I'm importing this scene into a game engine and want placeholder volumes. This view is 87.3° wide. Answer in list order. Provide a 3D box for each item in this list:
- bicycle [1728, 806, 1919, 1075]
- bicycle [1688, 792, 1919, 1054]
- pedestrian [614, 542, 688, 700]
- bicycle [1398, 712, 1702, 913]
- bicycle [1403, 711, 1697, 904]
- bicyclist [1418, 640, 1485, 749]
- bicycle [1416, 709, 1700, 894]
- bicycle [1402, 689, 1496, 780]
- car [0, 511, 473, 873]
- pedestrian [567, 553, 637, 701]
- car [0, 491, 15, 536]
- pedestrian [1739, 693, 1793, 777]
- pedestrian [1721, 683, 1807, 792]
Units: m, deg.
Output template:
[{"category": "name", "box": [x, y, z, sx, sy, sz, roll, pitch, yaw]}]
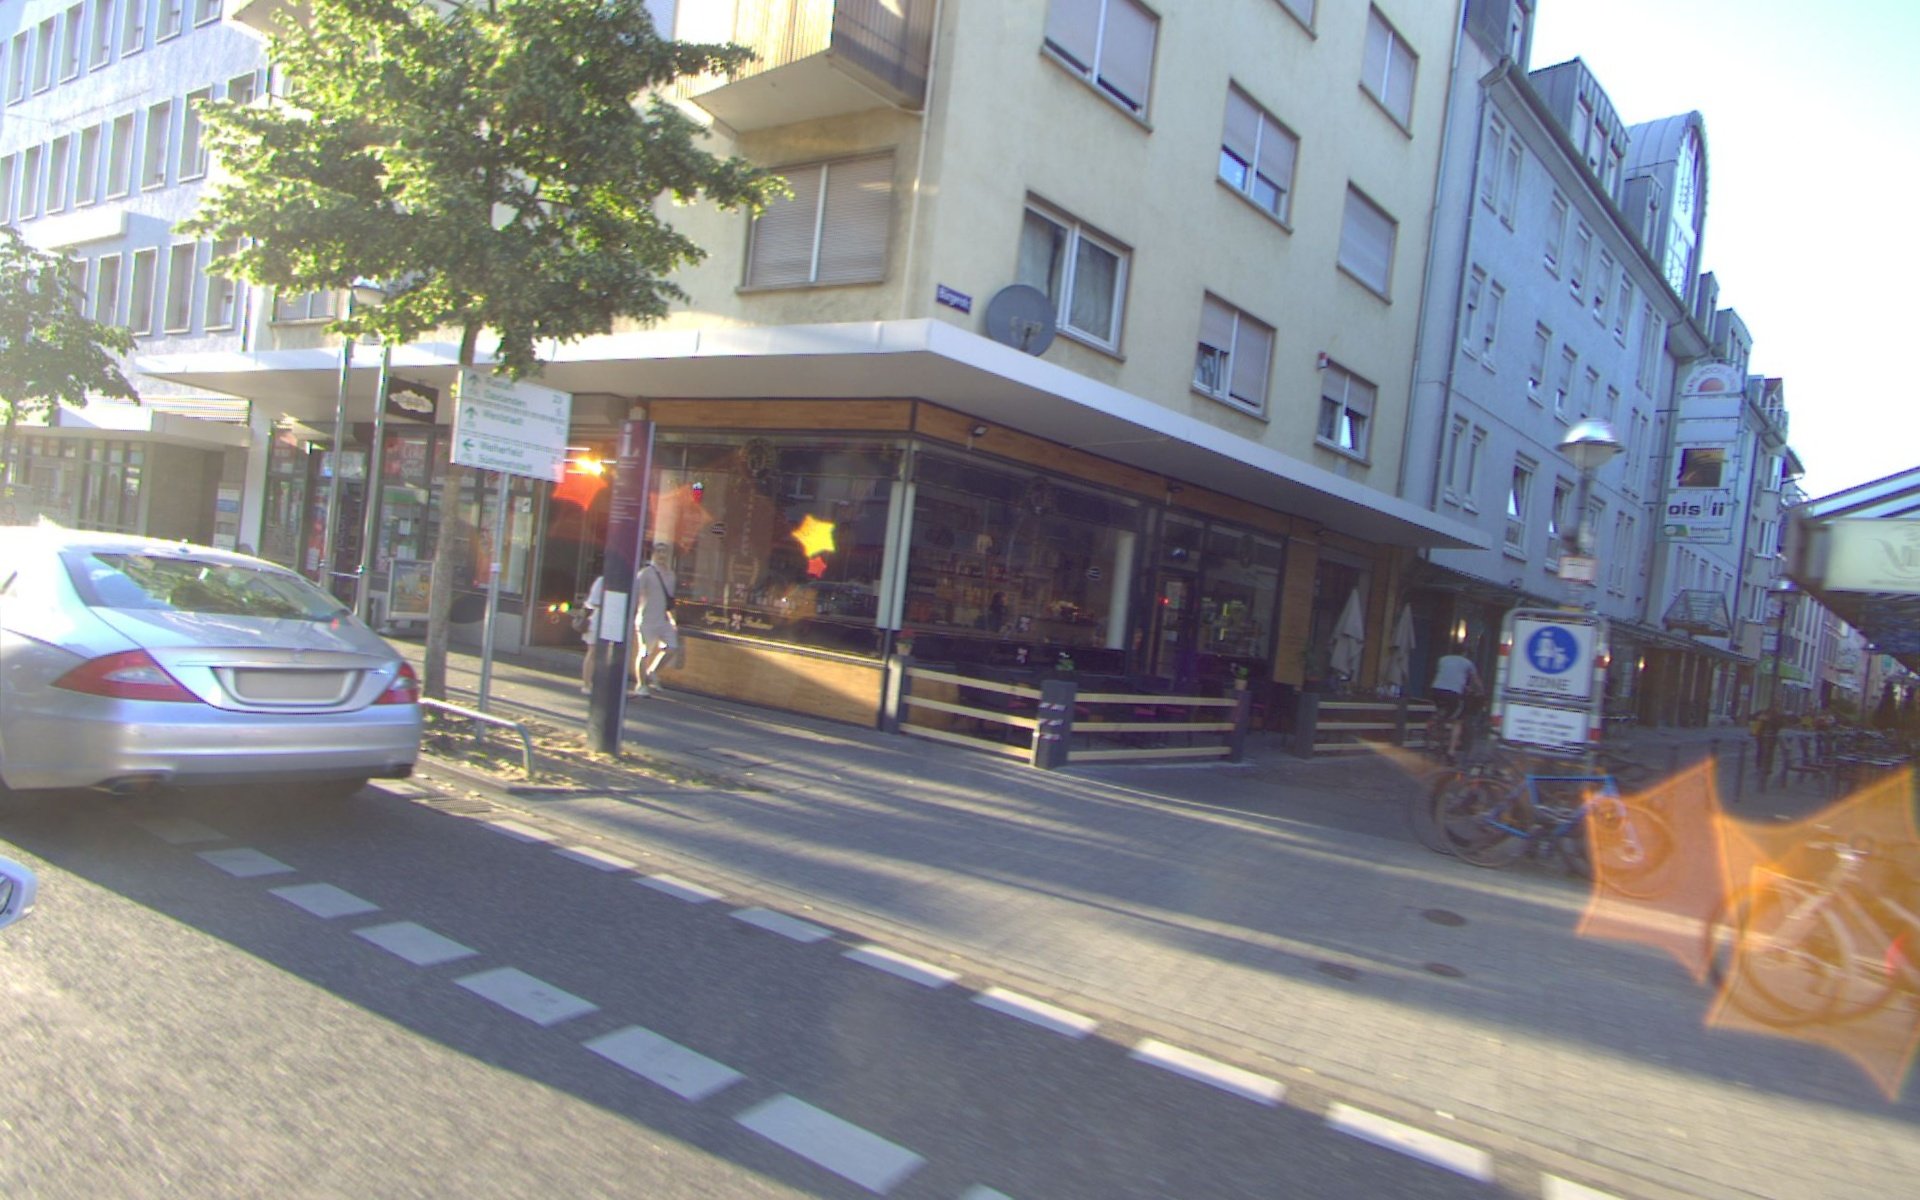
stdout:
[{"category": "bicycle", "box": [4.621, 1.652, 4.608, 1.638, 1.059, 0.314, 6, 2, 34]}, {"category": "bicycle", "box": [4.776, 1.664, 4.925, 1.852, 1.059, 0.314, 6, 2, 34]}, {"category": "pedestrian", "box": [-3.639, 0.245, 11.852, 0.494, 1.782, 0.543, 7, 4, 30]}, {"category": "bicycle", "box": [4.387, 1.547, 7.608, 1.848, 1.118, 0.321, 6, 1, 31]}, {"category": "bicycle", "box": [4.546, 1.566, 7.874, 1.856, 1.118, 0.291, 6, 1, 31]}, {"category": "bicyclist", "box": [6.966, 1.339, 14.264, 0.714, 1.453, 0.456, 6, 3, -45]}, {"category": "bicycle", "box": [4.793, 1.583, 8.184, 1.848, 1.118, 0.321, 6, 1, 31]}, {"category": "bicycle", "box": [7.000, 1.911, 14.354, 0.459, 1.161, 1.968, 10, 2, 44]}, {"category": "car", "box": [-5.200, 0.272, 6.026, 4.561, 1.417, 1.746, 7, -2, 30]}, {"category": "pedestrian", "box": [-4.057, 0.302, 11.409, 0.401, 1.615, 0.519, 7, 4, 30]}, {"category": "car", "box": [-35.080, -3.230, 34.135, 1.769, 1.552, 4.001, 7, 0, 14]}, {"category": "pedestrian", "box": [17.094, 2.861, 21.349, 0.563, 1.676, 0.647, 6, 1, -41]}, {"category": "pedestrian", "box": [13.424, 2.287, 16.809, 0.787, 1.698, 0.698, 4, 2, -24]}]
